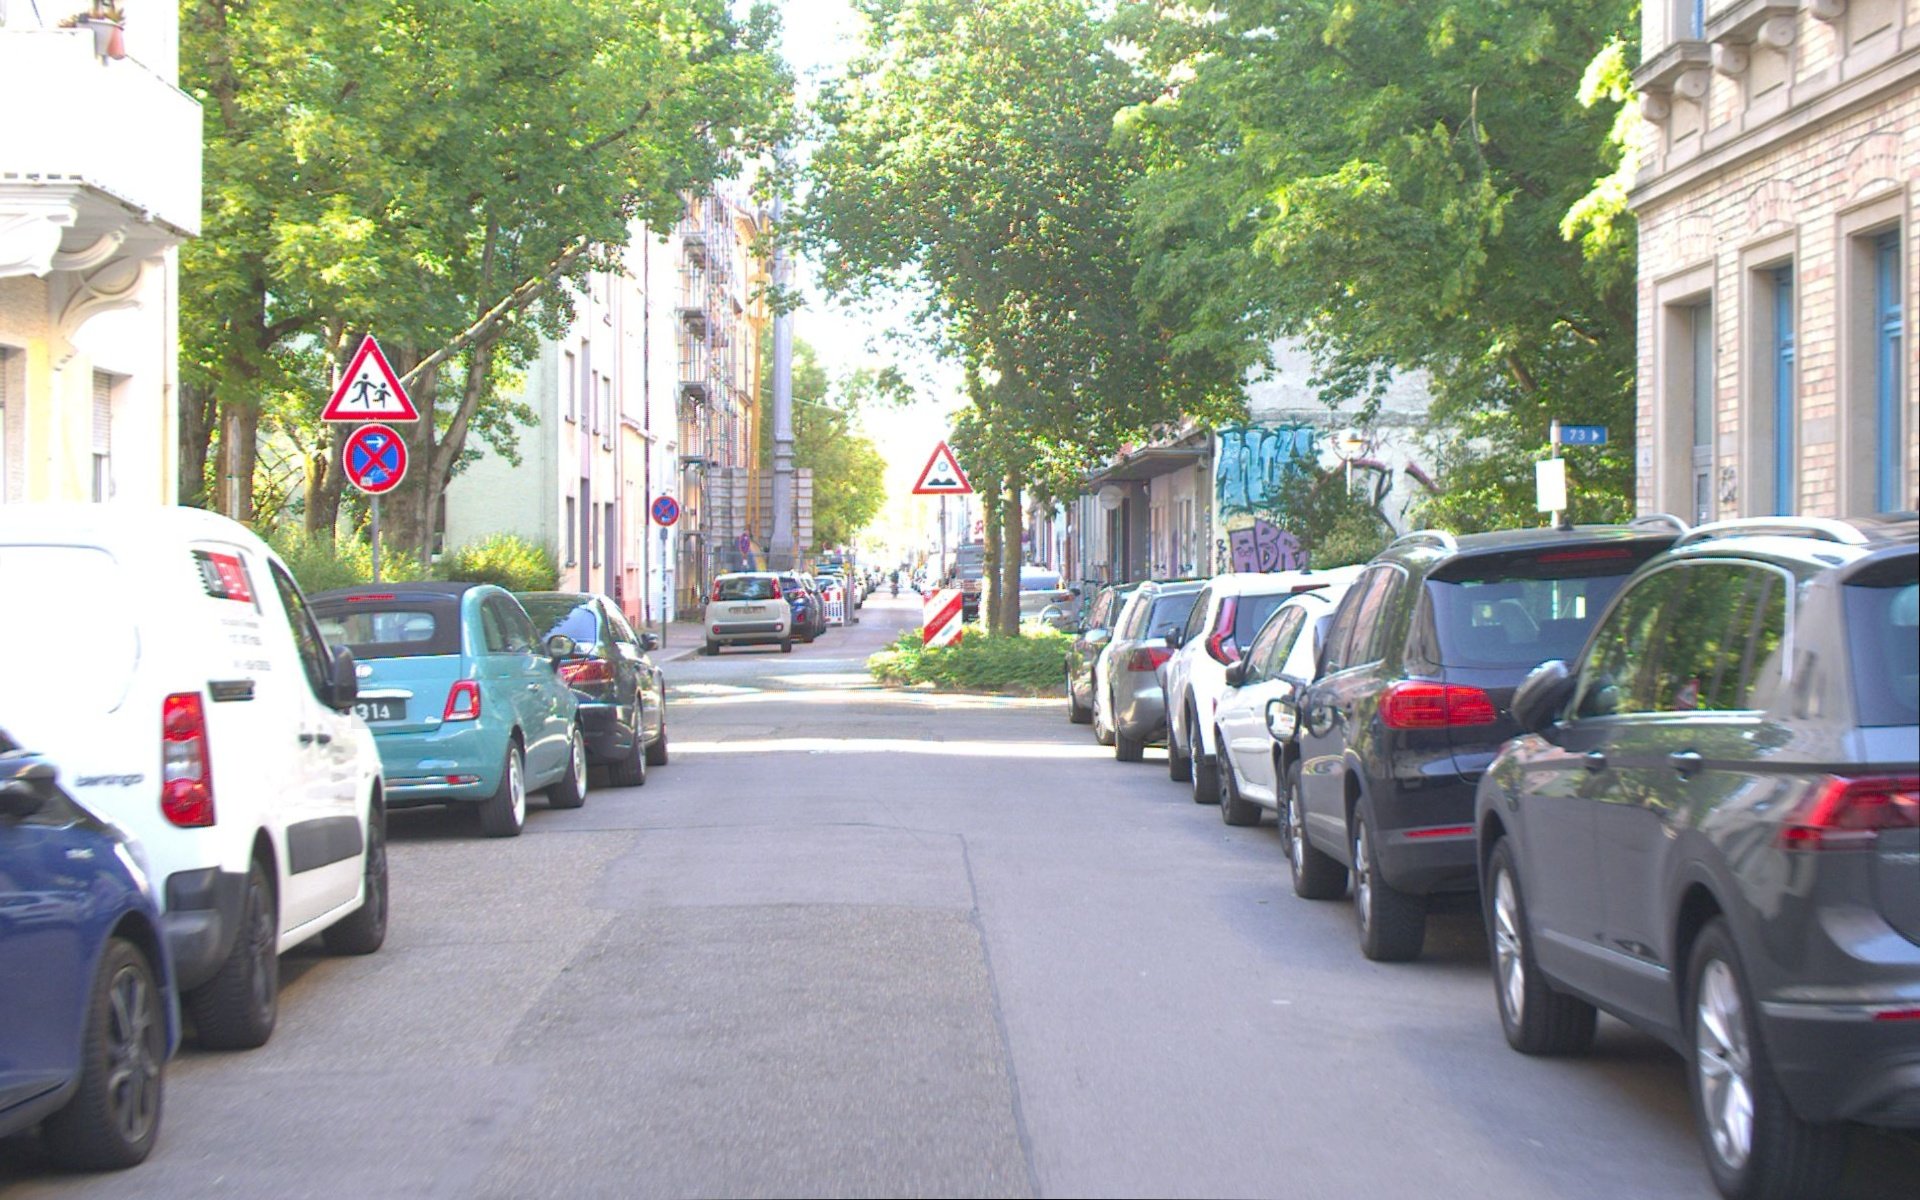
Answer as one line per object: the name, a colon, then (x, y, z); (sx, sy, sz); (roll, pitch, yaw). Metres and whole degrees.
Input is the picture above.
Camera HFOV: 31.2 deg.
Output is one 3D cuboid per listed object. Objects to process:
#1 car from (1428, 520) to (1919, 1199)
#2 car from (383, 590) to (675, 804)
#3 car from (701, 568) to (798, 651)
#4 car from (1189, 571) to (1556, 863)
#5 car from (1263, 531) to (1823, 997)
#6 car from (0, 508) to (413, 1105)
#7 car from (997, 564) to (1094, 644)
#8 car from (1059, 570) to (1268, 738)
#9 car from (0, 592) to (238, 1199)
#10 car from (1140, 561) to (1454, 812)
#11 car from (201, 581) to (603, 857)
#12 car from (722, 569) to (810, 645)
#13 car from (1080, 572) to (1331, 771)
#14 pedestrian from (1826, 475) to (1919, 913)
car: (2.522, 0.610, 9.507); (1.676, 1.621, 4.251); (-4, 0, -1)
car: (-3.074, 0.648, 25.223); (1.670, 1.356, 4.049); (-2, 1, -1)
car: (-4.028, 0.161, 66.260); (1.675, 1.482, 4.095); (-2, 1, -1)
car: (2.294, 0.602, 19.928); (1.566, 1.478, 3.619); (-2, 1, -1)
car: (2.336, 0.611, 14.763); (1.676, 1.676, 4.094); (-2, 0, 0)
car: (-3.147, 0.613, 12.373); (1.765, 1.779, 4.039); (-2, 1, -1)
car: (1.656, 0.063, 67.658); (1.675, 1.482, 3.638); (-2, 1, -1)
car: (1.940, 0.481, 33.841); (1.675, 1.482, 4.095); (-2, 1, -1)
car: (-3.037, 0.772, 7.730); (1.673, 1.481, 3.991); (-2, 1, 4)
car: (2.260, 0.530, 23.936); (1.675, 1.556, 3.796); (-2, 1, -1)
car: (-3.321, 0.659, 21.138); (1.670, 1.464, 3.820); (-2, 1, 2)
car: (-4.028, 0.129, 71.761); (1.675, 1.482, 4.095); (-2, 1, -1)
car: (1.986, 0.537, 28.839); (1.675, 1.482, 4.095); (-2, 1, -1)
pedestrian: (3.806, 0.348, 13.344); (0.685, 1.654, 0.717); (-1, 1, -1)
